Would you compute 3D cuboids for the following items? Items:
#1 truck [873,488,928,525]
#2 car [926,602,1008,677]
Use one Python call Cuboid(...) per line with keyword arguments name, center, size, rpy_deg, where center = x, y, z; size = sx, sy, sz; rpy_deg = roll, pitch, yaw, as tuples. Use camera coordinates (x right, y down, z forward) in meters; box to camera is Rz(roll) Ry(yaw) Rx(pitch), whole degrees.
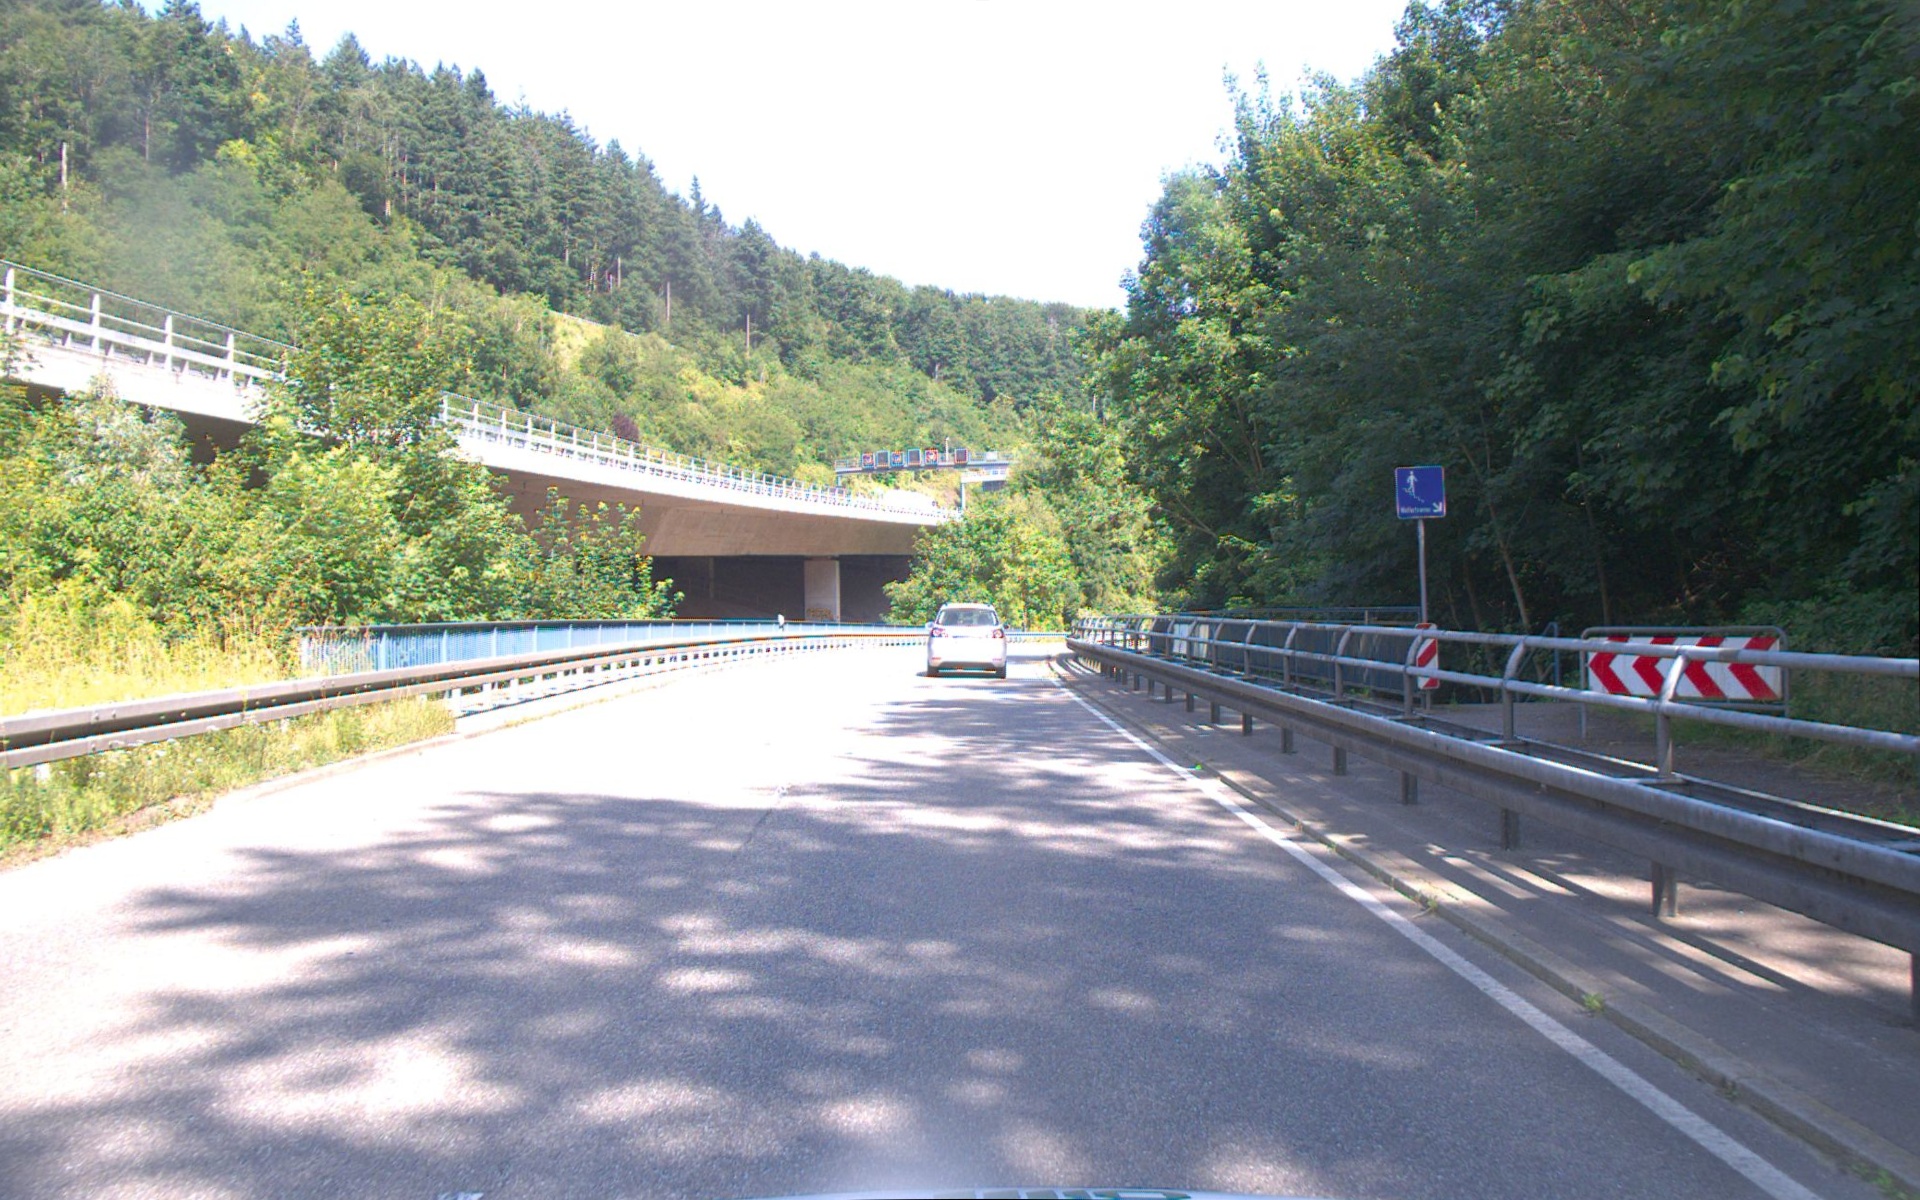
Cuboid(name="truck", center=(-6.065, -9.529, 169.559), size=(3.298, 3.413, 10.185), rpy_deg=(1, 1, 11))
Cuboid(name="car", center=(0.154, 0.823, 36.481), size=(1.715, 1.546, 4.159), rpy_deg=(0, 0, 0))
